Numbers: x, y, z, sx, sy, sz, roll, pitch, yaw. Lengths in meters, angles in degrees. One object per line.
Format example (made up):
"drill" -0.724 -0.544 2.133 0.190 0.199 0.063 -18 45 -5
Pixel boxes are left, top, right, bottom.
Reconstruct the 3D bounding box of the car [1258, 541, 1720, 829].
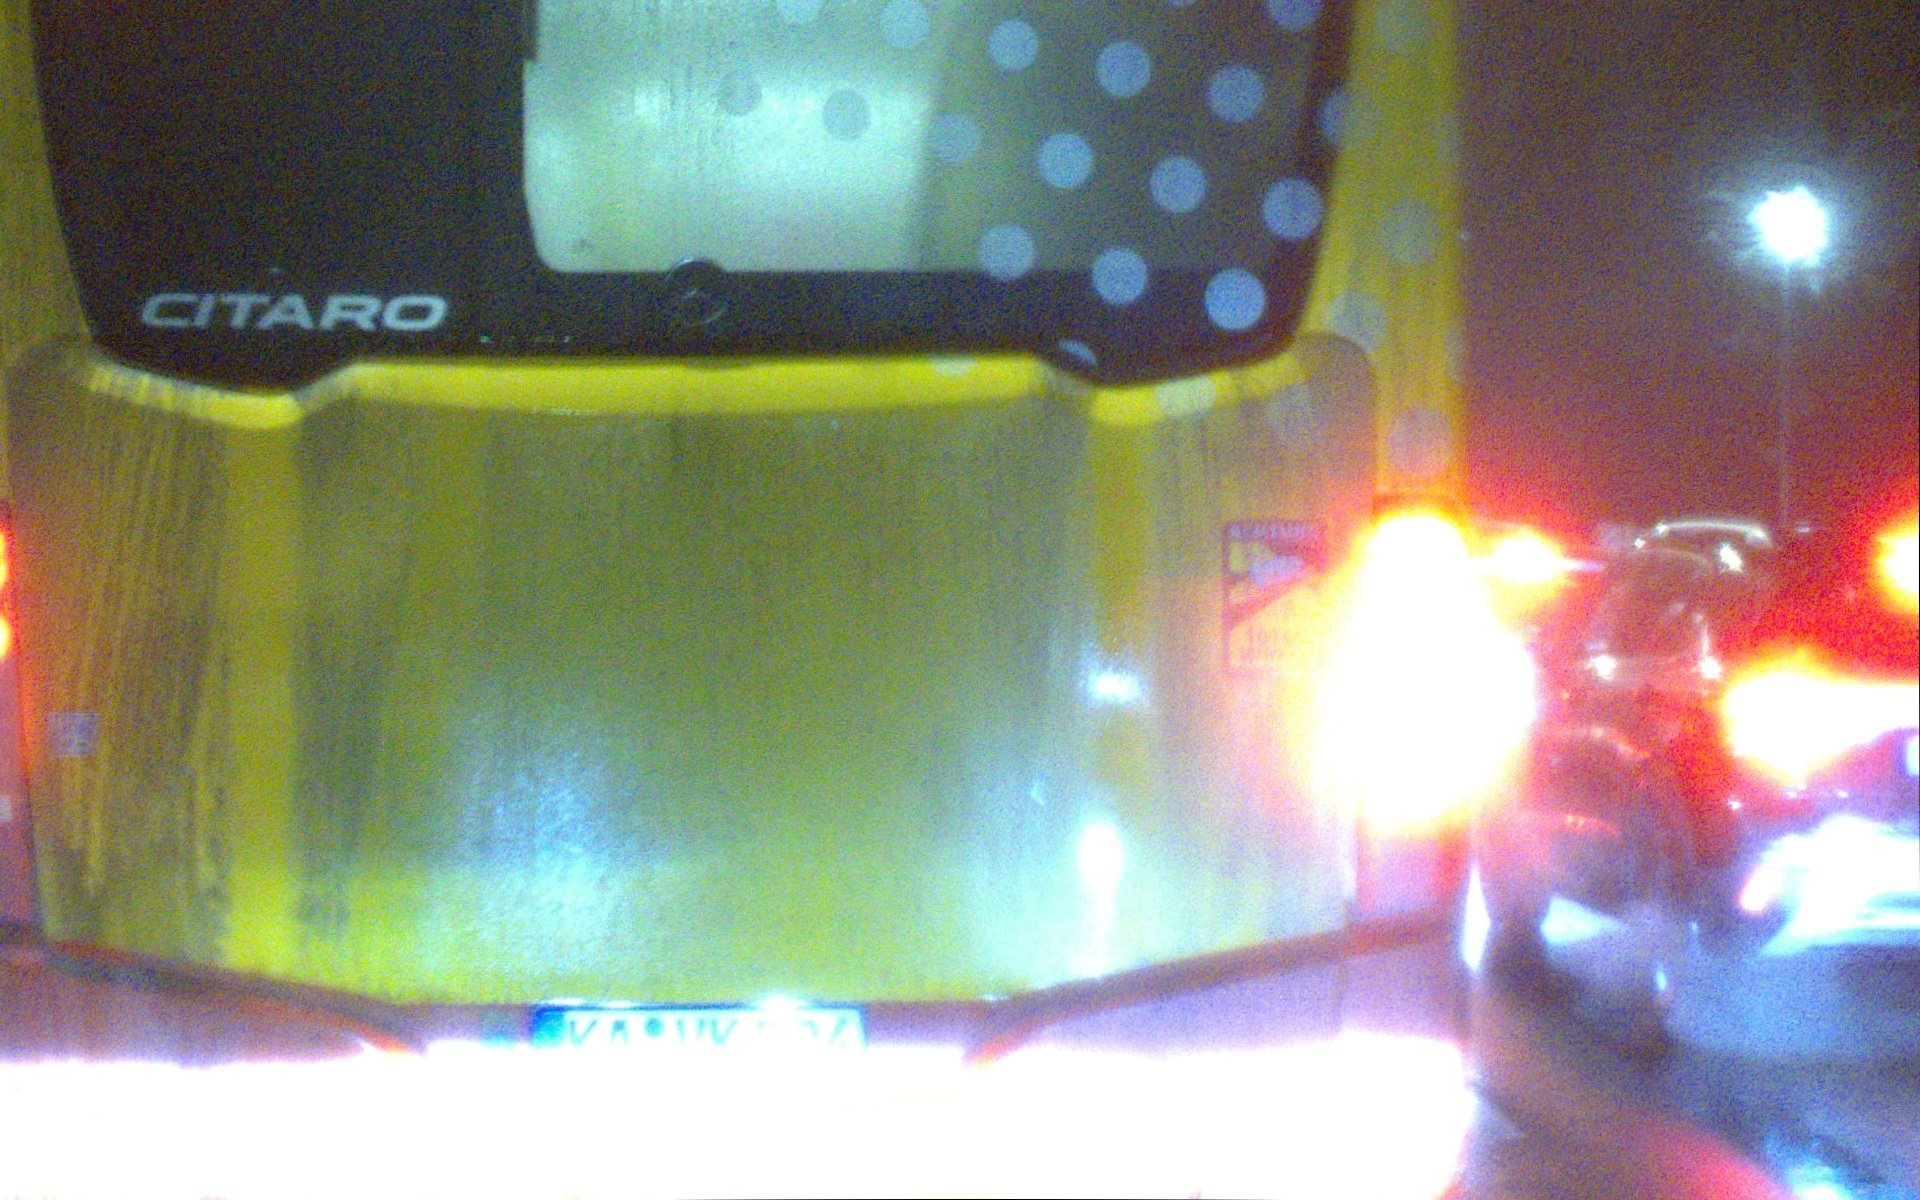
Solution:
"car" 2.638 0.366 17.994 1.686 1.326 3.961 -1 1 -2

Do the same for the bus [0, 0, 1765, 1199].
"bus" -0.631 -0.316 9.829 3.285 3.039 9.546 0 2 -2

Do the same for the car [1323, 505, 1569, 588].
"car" 9.675 -1.079 68.581 4.482 1.513 1.858 1 3 -8

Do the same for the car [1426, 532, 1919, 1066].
"car" 2.817 0.554 11.805 1.677 1.516 3.961 1 1 -3

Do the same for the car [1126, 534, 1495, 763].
"car" 2.335 0.287 23.941 1.993 1.436 4.000 1 1 -2
